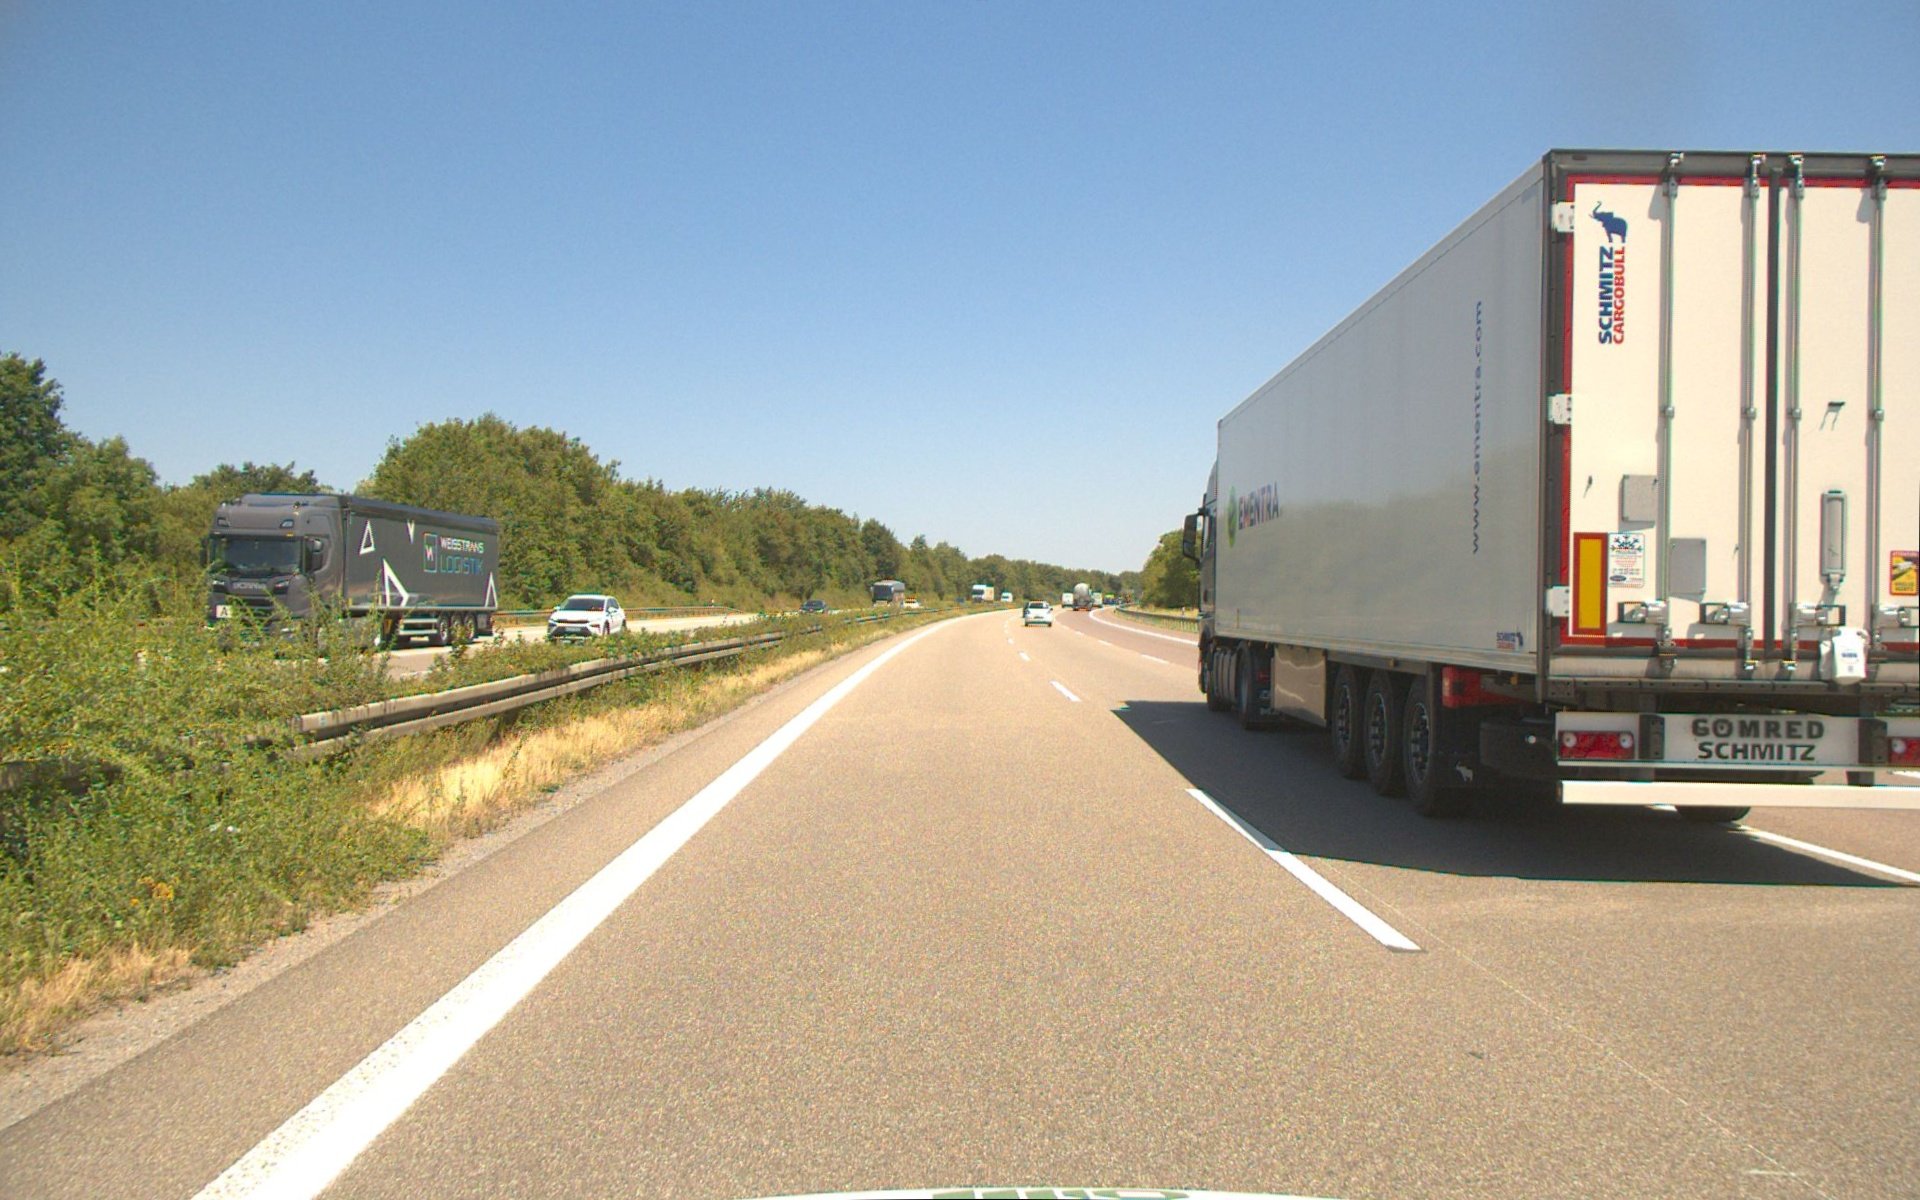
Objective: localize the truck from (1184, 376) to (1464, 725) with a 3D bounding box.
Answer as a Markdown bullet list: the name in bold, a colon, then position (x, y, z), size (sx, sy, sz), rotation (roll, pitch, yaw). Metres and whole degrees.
- **truck**: position (4.906, -0.622, 23.242), size (2.848, 4.330, 4.975), rotation (1, 0, 1)

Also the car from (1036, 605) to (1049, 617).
- **car**: position (10.281, 1.362, 206.896), size (1.593, 1.505, 4.001), rotation (0, 0, 2)

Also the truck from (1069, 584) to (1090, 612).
- **truck**: position (17.596, -0.255, 242.541), size (2.681, 4.123, 10.461), rotation (0, 0, 6)

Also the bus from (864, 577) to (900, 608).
- **bus**: position (-9.822, -0.855, 210.682), size (2.683, 3.772, 13.008), rotation (1, 0, 6)

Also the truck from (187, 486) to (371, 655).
- **truck**: position (-16.742, -0.694, 40.914), size (2.834, 3.984, 4.000), rotation (0, 0, 1)

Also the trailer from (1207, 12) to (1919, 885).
- **trailer**: position (4.784, -0.827, 16.015), size (2.841, 4.739, 13.987), rotation (1, 0, 1)

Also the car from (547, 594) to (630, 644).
- **car**: position (-12.290, 0.608, 54.943), size (1.805, 1.614, 4.486), rotation (0, 0, -1)

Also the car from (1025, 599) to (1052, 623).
- **car**: position (4.913, 0.676, 103.331), size (1.593, 1.505, 4.001), rotation (0, 0, 3)

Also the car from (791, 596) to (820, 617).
- **car**: position (-11.739, 0.507, 126.082), size (1.745, 1.544, 4.501), rotation (1, 0, 0)

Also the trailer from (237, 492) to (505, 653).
- **trailer**: position (-16.706, -0.691, 48.519), size (2.821, 4.017, 14.057), rotation (0, 0, 0)
